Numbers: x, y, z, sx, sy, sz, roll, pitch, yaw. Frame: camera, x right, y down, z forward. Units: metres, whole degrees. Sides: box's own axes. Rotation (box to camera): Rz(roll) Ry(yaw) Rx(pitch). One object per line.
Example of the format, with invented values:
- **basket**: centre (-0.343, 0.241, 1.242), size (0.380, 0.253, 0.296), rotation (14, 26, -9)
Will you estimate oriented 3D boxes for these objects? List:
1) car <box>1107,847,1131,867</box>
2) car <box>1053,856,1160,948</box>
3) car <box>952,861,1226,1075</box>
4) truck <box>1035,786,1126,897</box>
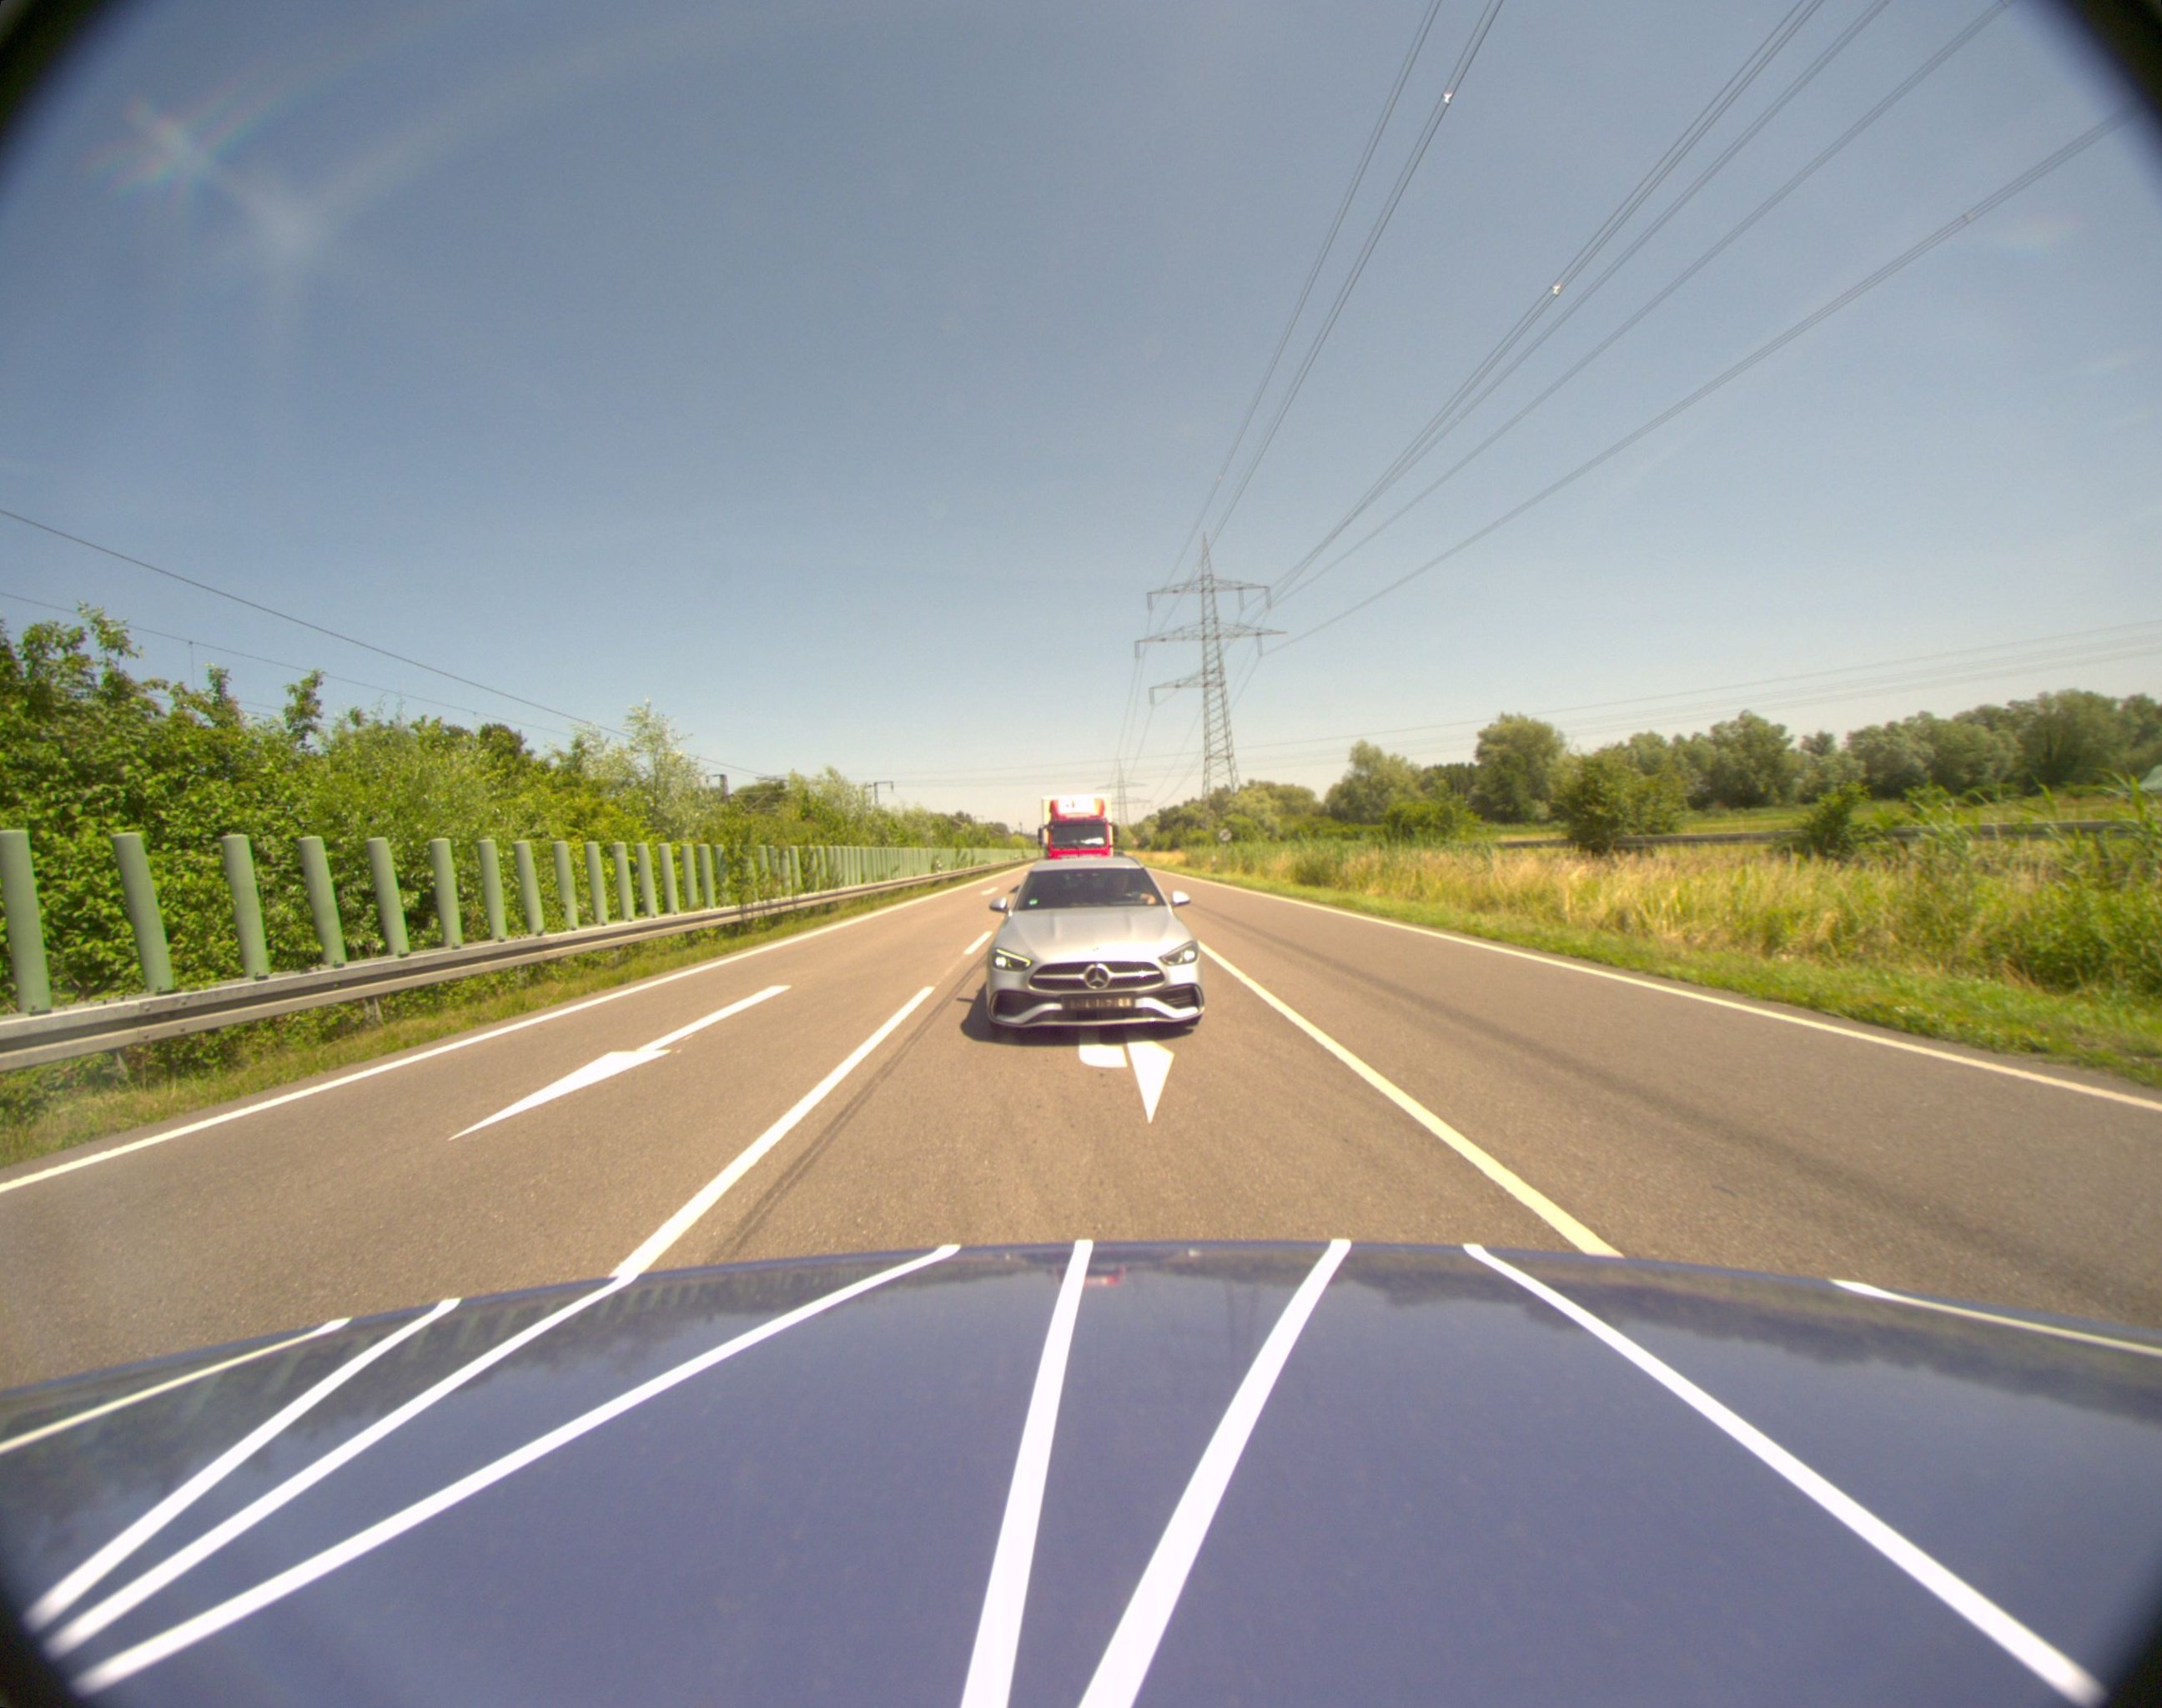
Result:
- **car**: centre (3.173, 0.242, 64.182), size (1.786, 1.455, 4.000), rotation (-4, 1, 1)
- **car**: centre (0.439, 0.790, 14.626), size (1.698, 1.385, 4.467), rotation (-2, 1, 1)
- **car**: centre (0.063, 0.871, 7.891), size (1.998, 1.437, 4.466), rotation (-2, 1, 0)
- **truck**: centre (-0.030, -0.469, 29.869), size (2.907, 3.641, 7.155), rotation (-4, 1, 0)
